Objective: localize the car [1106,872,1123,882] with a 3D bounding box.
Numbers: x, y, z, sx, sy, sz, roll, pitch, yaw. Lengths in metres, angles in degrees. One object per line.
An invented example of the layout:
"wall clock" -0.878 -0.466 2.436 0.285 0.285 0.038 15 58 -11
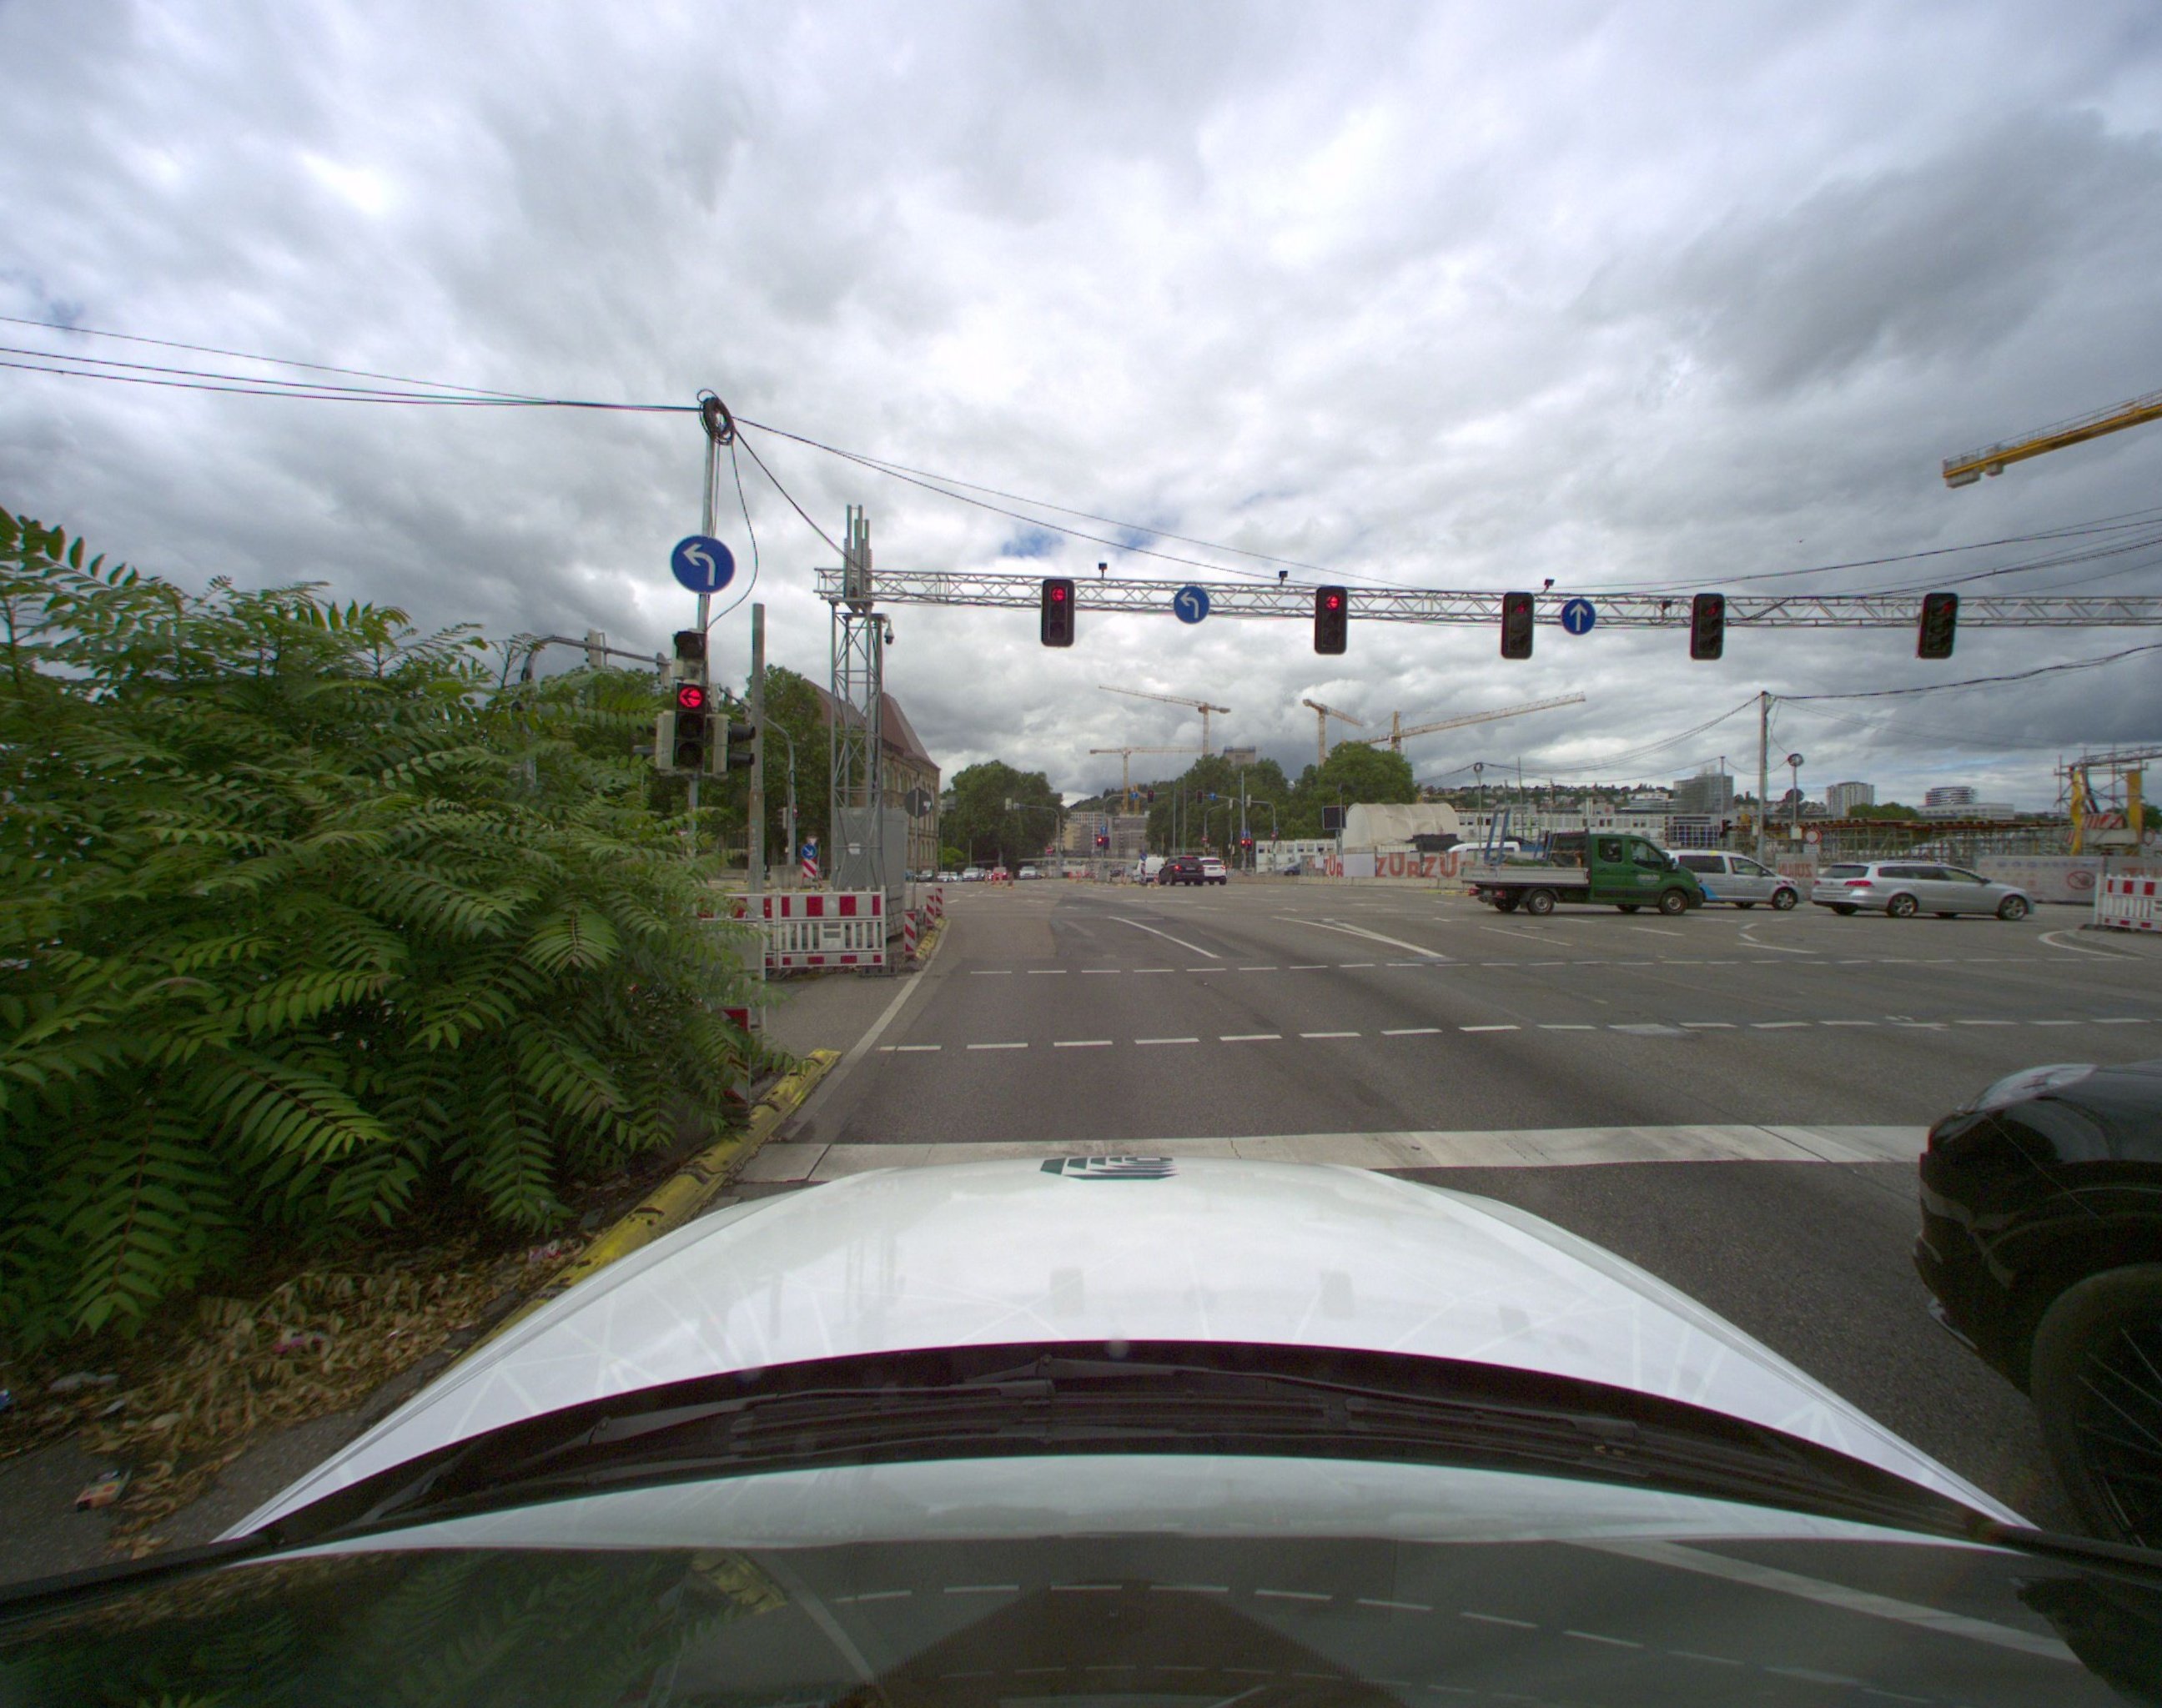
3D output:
"car" 4.540 3.110 110.684 1.674 1.398 3.674 0 -1 -6

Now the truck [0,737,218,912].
"truck" -25.620 -0.671 20.303 4.864 4.064 2.942 0 -1 -3

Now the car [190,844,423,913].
"car" -19.270 0.583 20.410 4.041 1.625 1.829 0 -1 -1

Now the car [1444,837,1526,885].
"car" 23.227 0.420 46.966 3.957 2.662 1.688 -1 -1 15

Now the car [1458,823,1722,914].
"car" 13.584 0.380 22.028 5.741 2.305 2.302 0 -1 -1

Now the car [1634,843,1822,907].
"car" 19.899 0.626 25.199 4.247 1.882 1.832 0 -1 4

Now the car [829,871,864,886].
"car" -22.726 2.332 78.965 1.664 1.398 3.695 -1 -1 13

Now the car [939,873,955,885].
"car" -16.788 3.133 102.065 1.673 1.398 3.677 0 -1 -4

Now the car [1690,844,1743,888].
"car" 30.129 0.557 38.692 1.755 1.954 3.146 -1 -1 34

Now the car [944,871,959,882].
"car" -17.324 3.030 109.156 1.672 1.398 3.678 0 -2 -3

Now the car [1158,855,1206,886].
"car" 5.956 0.939 48.486 1.830 1.746 4.244 0 -1 -8

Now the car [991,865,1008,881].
"car" -8.482 1.997 85.085 1.673 1.580 3.677 0 -1 -4

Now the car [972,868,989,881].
"car" -11.368 2.269 92.227 1.673 1.398 3.677 0 -1 -4

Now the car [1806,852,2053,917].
"car" 22.239 0.779 21.482 4.692 1.625 1.682 0 -1 2

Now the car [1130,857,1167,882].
"car" 4.564 1.016 55.571 1.814 1.625 3.992 0 -1 -5

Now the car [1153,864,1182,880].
"car" 8.017 1.679 75.952 1.680 1.398 3.069 0 -1 -16

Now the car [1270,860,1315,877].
"car" 20.828 1.431 80.194 3.996 1.625 1.812 0 -1 -17

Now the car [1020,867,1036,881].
"car" -5.586 2.069 85.319 1.673 1.398 3.677 0 -1 -4

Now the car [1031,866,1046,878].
"car" -5.271 2.256 100.732 1.673 1.398 3.677 0 -1 -4

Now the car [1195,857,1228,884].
"car" 8.476 1.053 52.993 1.670 1.702 3.375 0 -1 2

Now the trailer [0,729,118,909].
"trailer" -32.584 -0.774 19.990 13.708 4.281 2.945 0 -1 -3

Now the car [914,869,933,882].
"car" -17.996 2.395 92.950 1.673 1.398 3.677 0 -1 -4

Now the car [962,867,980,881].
"car" -11.622 2.119 86.070 1.673 1.398 3.677 0 -1 -4
